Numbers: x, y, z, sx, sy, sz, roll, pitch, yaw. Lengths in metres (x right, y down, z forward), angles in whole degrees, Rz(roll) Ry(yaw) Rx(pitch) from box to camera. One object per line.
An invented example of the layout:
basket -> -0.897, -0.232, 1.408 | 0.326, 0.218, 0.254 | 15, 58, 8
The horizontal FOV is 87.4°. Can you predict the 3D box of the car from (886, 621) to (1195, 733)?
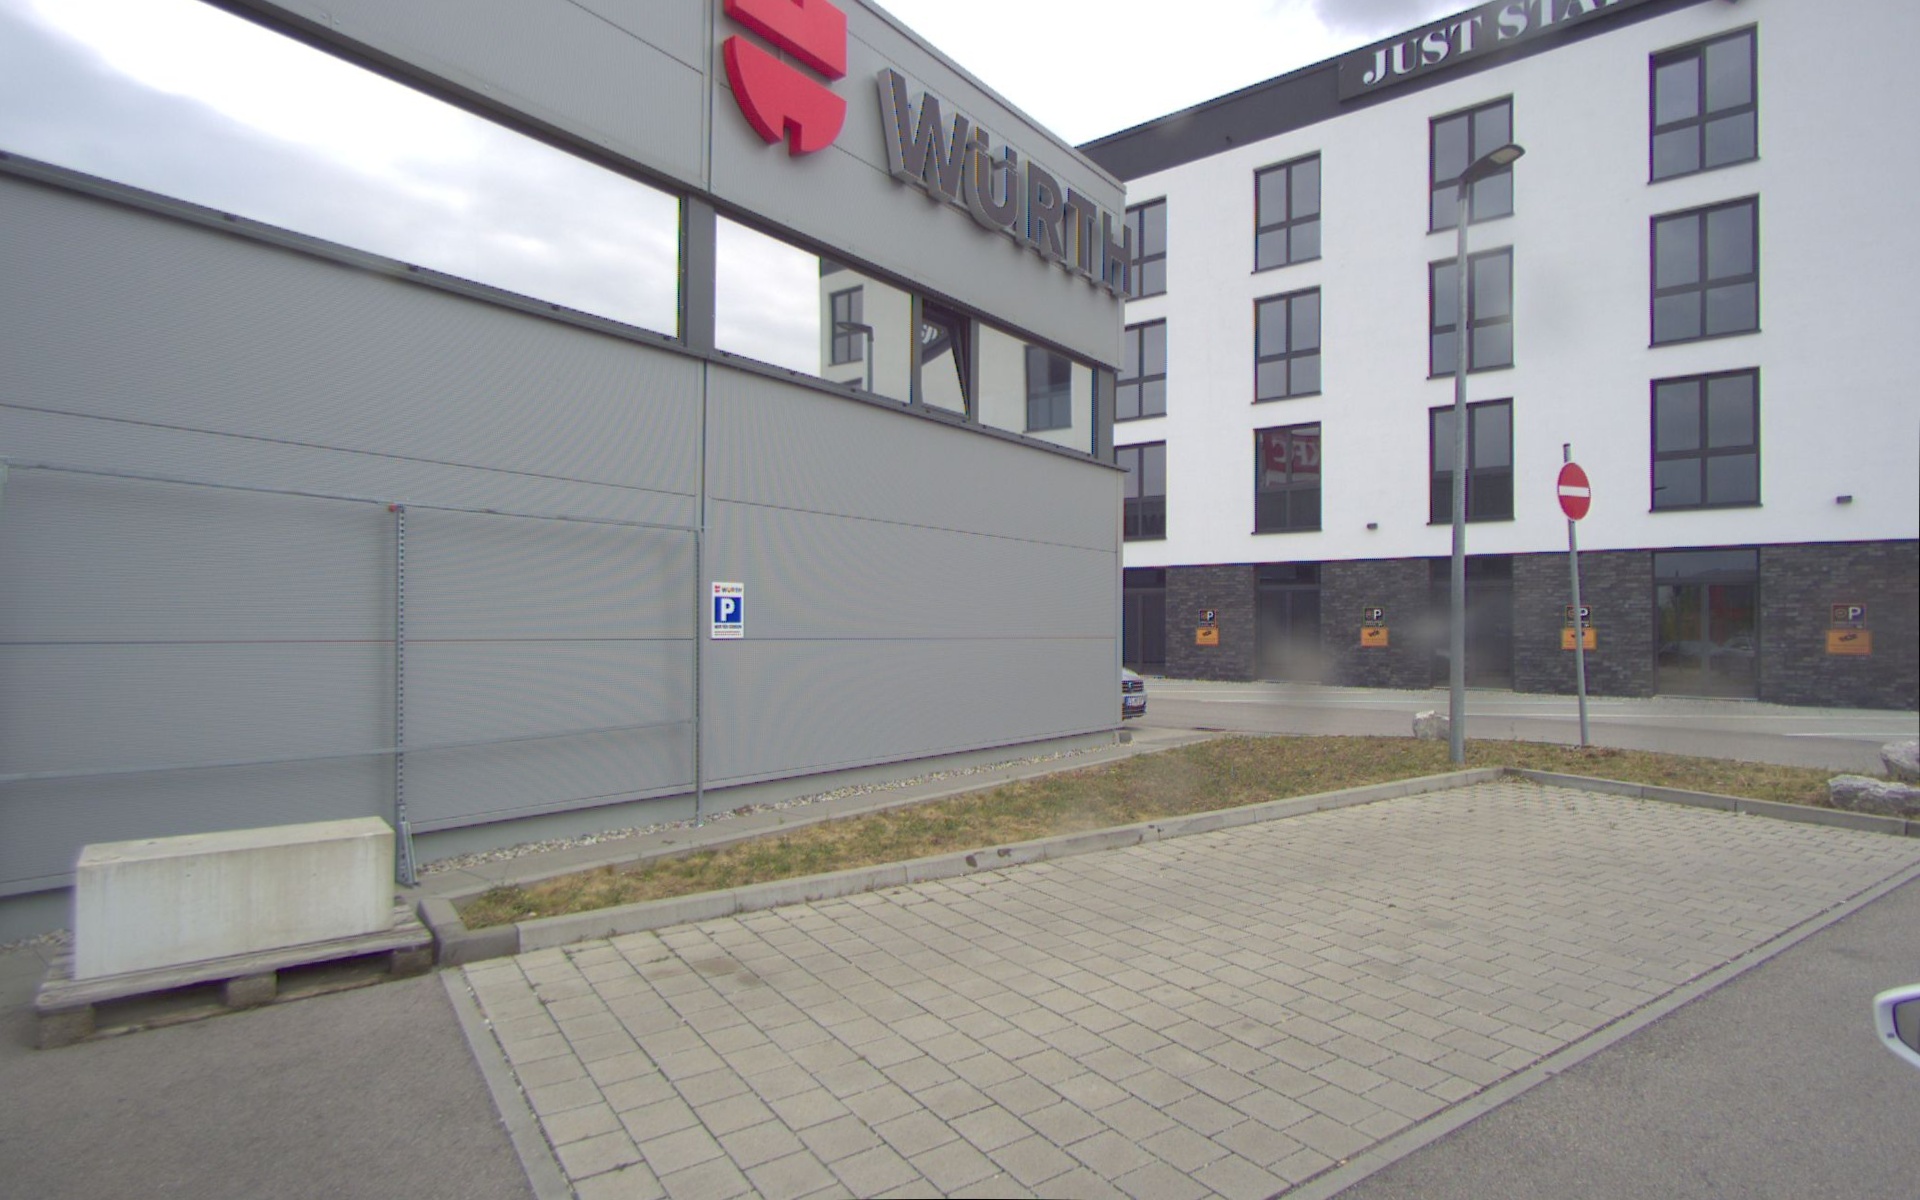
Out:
car -> 1.146, 1.128, 15.950 | 4.704, 1.511, 1.970 | -1, -4, 43
